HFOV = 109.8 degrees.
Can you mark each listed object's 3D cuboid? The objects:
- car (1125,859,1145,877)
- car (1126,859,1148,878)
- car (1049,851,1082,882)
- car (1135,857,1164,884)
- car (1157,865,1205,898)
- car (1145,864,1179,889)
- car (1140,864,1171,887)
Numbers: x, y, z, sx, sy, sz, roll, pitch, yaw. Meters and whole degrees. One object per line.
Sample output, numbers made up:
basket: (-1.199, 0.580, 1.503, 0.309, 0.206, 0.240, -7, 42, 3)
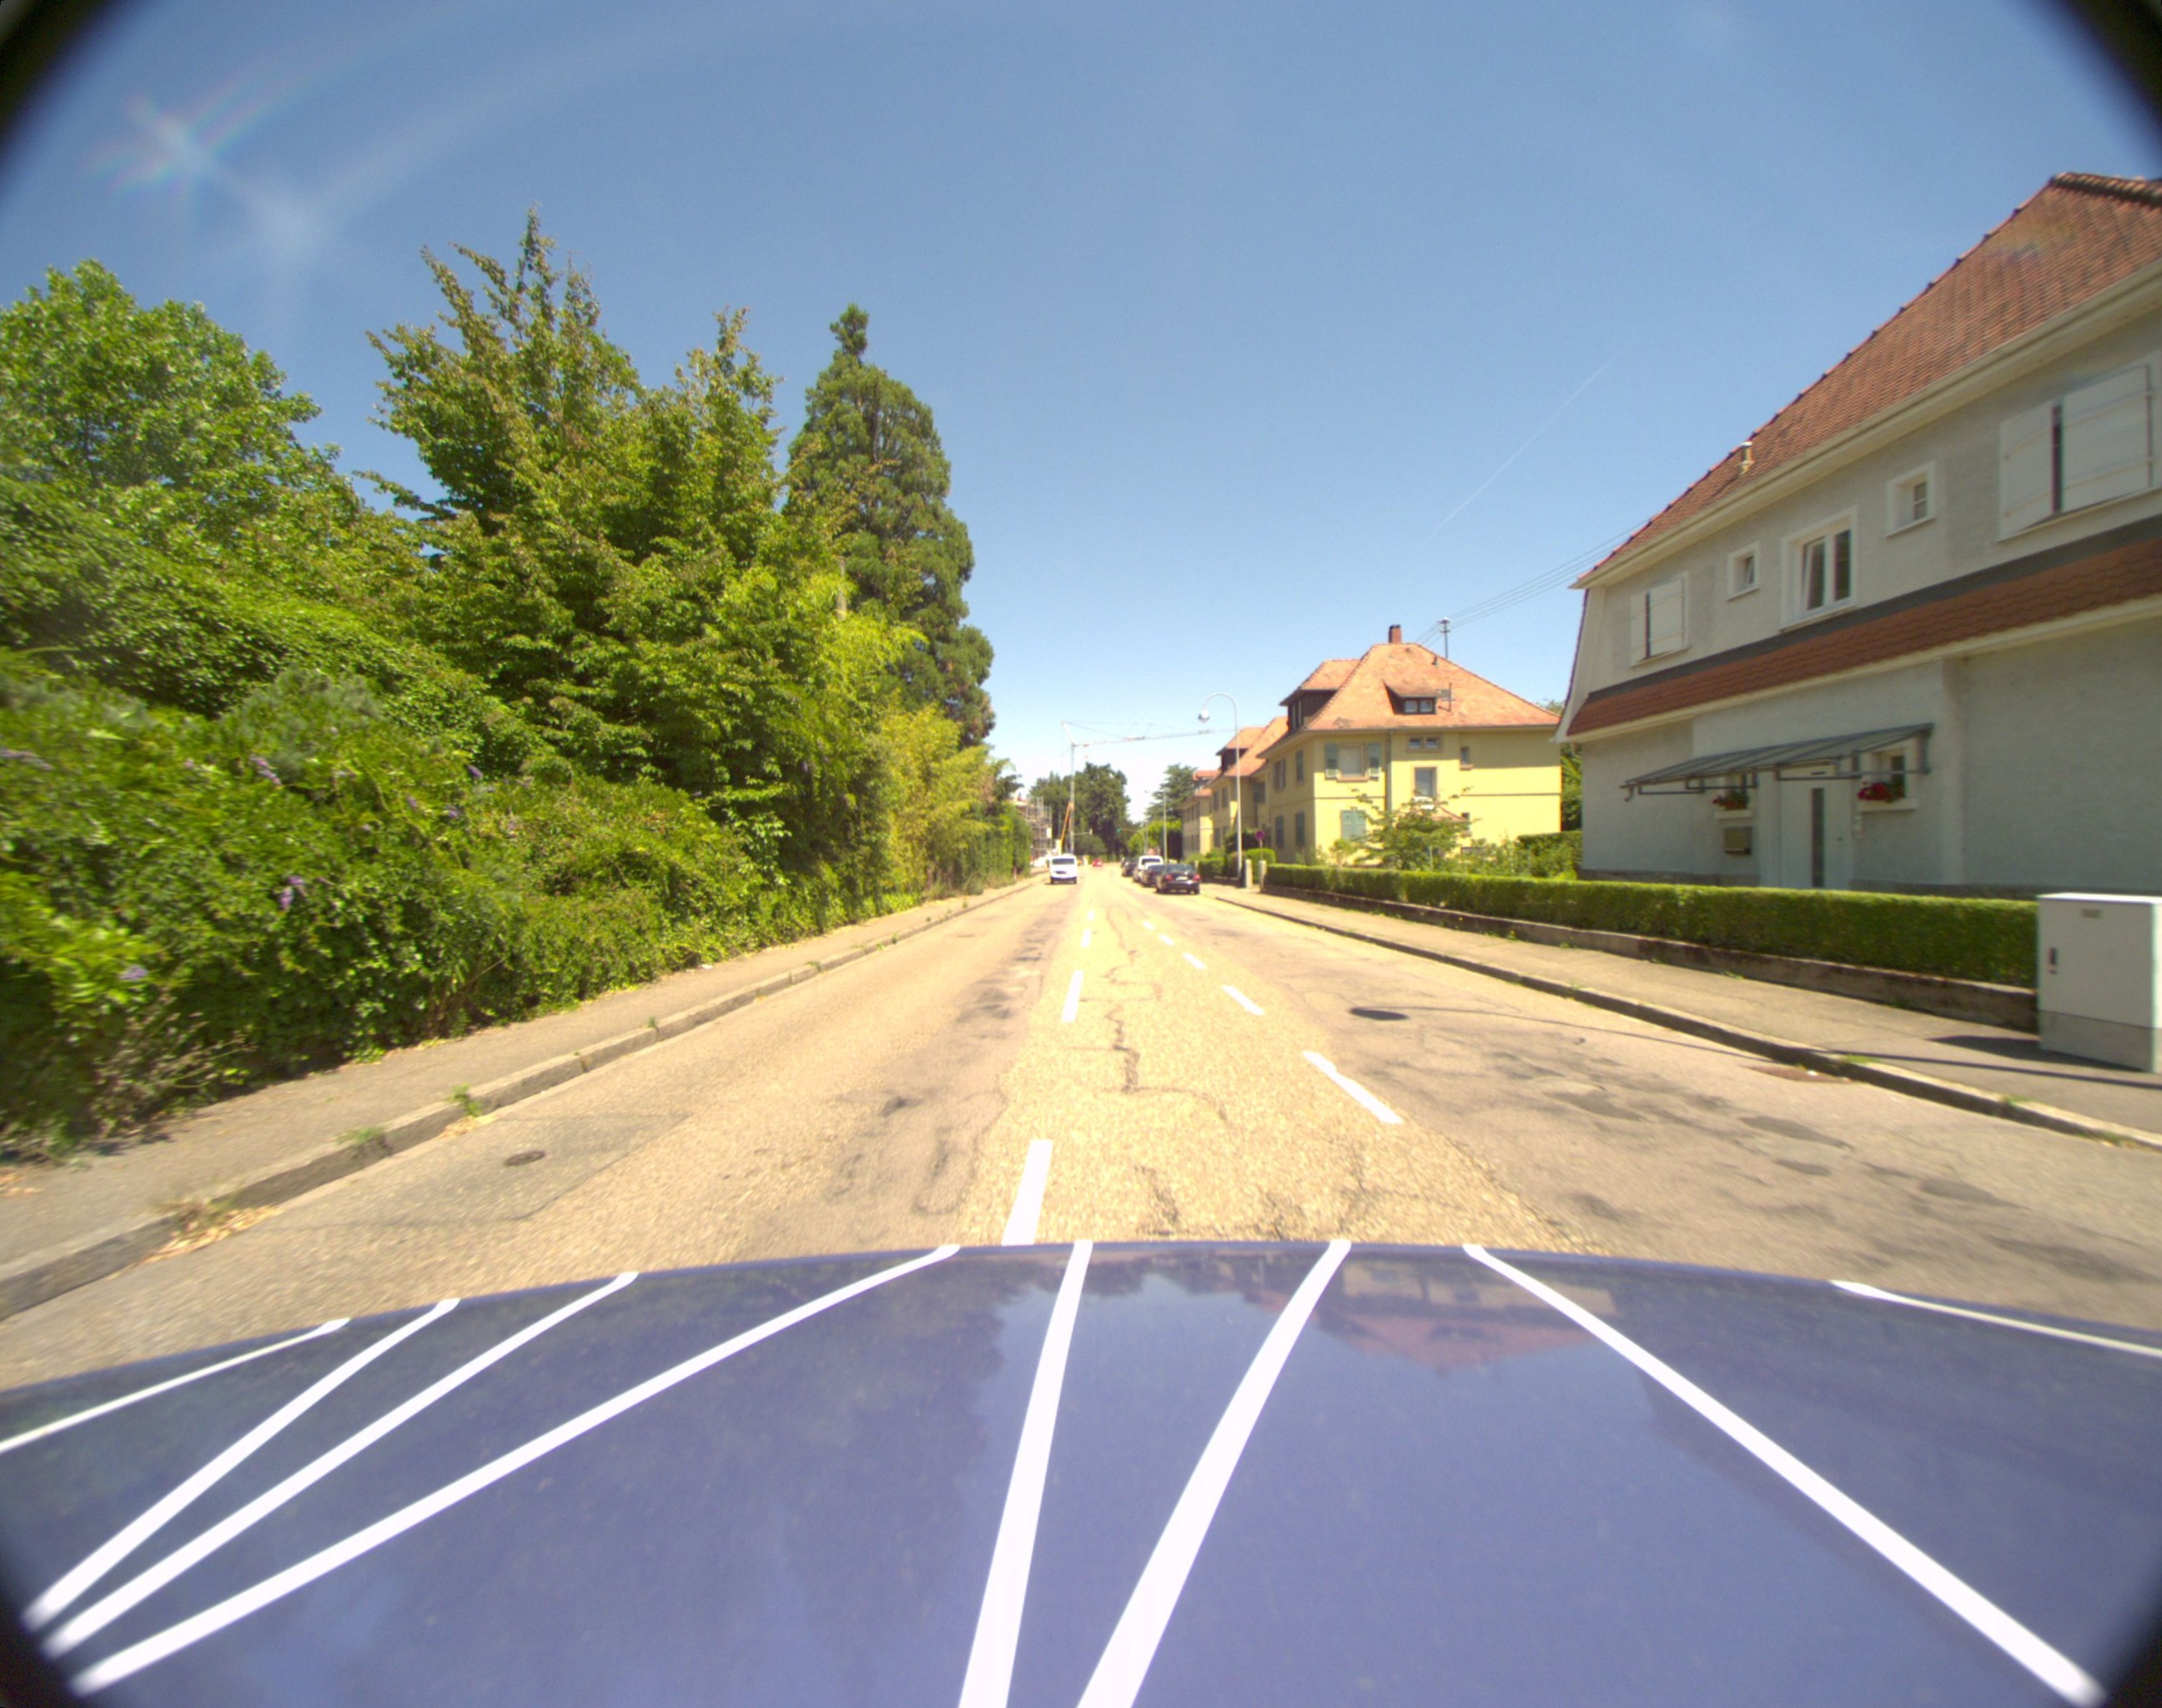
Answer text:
car: (5.684, 1.454, 80.357, 1.998, 1.674, 4.001, -3, 0, 4)
car: (5.581, 1.437, 75.299, 1.998, 1.674, 4.001, -3, 0, 4)
car: (-1.035, 0.879, 53.644, 1.998, 2.002, 4.387, -3, 0, 2)
car: (4.892, 1.175, 54.823, 1.753, 1.885, 4.001, 0, -1, 1)
car: (4.575, 1.234, 35.298, 1.753, 1.390, 4.000, 1, 0, 1)
car: (4.712, 1.317, 44.644, 1.753, 1.390, 4.001, 0, -1, 3)
car: (4.866, 1.353, 49.927, 1.753, 1.427, 4.001, 0, 0, 2)
